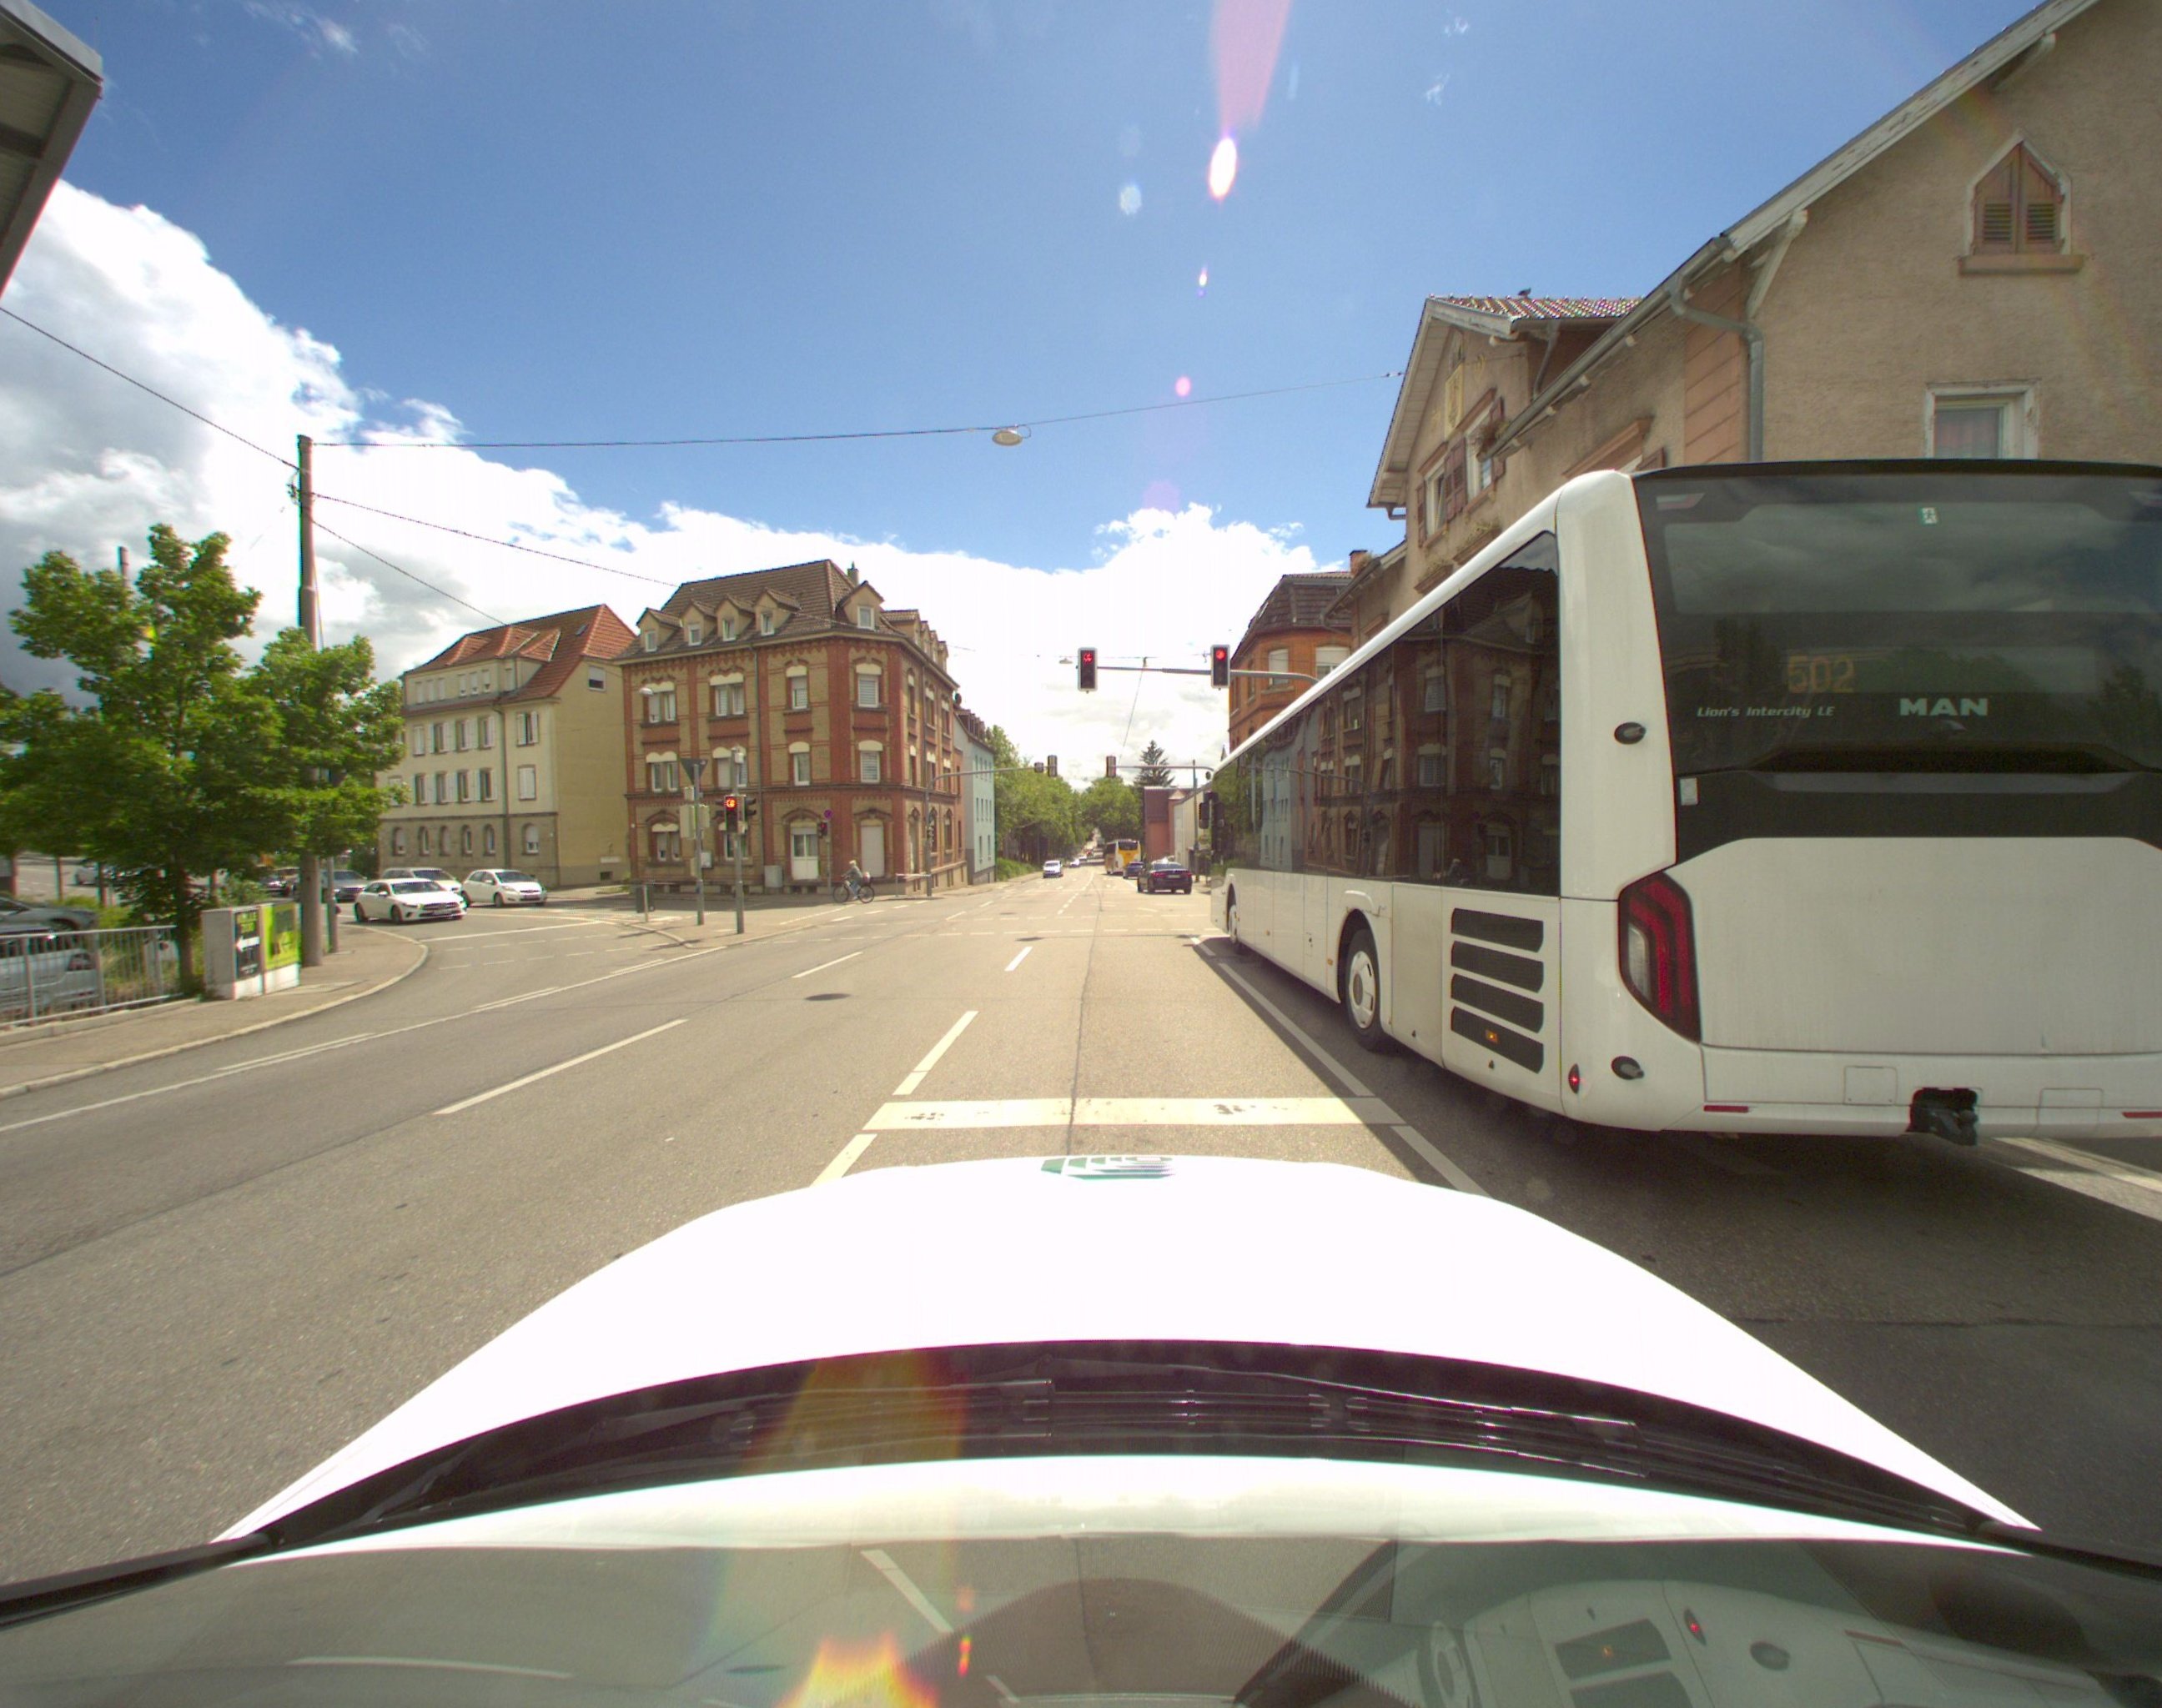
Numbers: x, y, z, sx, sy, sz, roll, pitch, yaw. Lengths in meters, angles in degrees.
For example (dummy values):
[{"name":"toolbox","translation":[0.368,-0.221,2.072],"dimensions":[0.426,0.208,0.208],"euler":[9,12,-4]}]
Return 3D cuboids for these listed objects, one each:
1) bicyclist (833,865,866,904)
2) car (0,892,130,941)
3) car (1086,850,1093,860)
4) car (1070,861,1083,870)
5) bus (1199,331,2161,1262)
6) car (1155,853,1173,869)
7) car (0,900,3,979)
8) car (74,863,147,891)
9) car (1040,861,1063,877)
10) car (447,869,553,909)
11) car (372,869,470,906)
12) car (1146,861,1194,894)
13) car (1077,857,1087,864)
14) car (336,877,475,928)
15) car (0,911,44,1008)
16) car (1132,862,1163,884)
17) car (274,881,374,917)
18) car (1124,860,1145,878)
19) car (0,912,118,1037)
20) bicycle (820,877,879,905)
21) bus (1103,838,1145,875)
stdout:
[{"name":"bicyclist","translation":[-9.218,1.201,32.499],"dimensions":[1.065,1.499,0.592],"euler":[-2,0,10]},{"name":"car","translation":[-29.257,1.729,22.232],"dimensions":[1.795,1.186,4.025],"euler":[-1,0,31]},{"name":"car","translation":[2.637,0.315,257.307],"dimensions":[2.133,3.070,5.629],"euler":[0,-1,2]},{"name":"car","translation":[-0.707,1.895,131.398],"dimensions":[1.858,1.367,4.549],"euler":[-2,0,2]},{"name":"bus","translation":[3.521,-0.174,9.320],"dimensions":[2.893,3.510,12.492],"euler":[0,-1,2]},{"name":"car","translation":[9.465,0.782,93.277],"dimensions":[1.760,1.665,4.002],"euler":[-2,0,2]},{"name":"car","translation":[-23.408,1.735,16.449],"dimensions":[3.371,1.575,1.526],"euler":[-1,0,30]},{"name":"car","translation":[-58.583,1.358,49.155],"dimensions":[4.291,1.586,2.012],"euler":[-1,0,29]},{"name":"car","translation":[-2.957,1.500,82.594],"dimensions":[1.928,1.563,4.390],"euler":[-2,0,2]},{"name":"car","translation":[-23.602,1.392,33.079],"dimensions":[3.951,1.497,1.711],"euler":[-1,0,24]},{"name":"car","translation":[-29.211,1.469,36.066],"dimensions":[3.951,1.519,1.757],"euler":[-1,0,24]},{"name":"car","translation":[3.844,1.002,35.749],"dimensions":[1.791,1.276,4.002],"euler":[-2,0,2]},{"name":"car","translation":[0.309,1.477,193.189],"dimensions":[2.199,1.613,4.549],"euler":[-2,0,2]},{"name":"car","translation":[-22.559,1.599,27.171],"dimensions":[4.336,1.447,1.874],"euler":[-2,2,26]},{"name":"car","translation":[-19.716,1.832,14.169],"dimensions":[3.744,1.523,1.526],"euler":[-1,0,30]},{"name":"car","translation":[4.523,1.252,55.696],"dimensions":[1.858,1.367,4.549],"euler":[-2,0,2]},{"name":"car","translation":[-35.455,2.078,38.158],"dimensions":[3.951,1.519,2.011],"euler":[-1,0,24]},{"name":"car","translation":[4.315,1.184,66.182],"dimensions":[1.603,1.376,4.002],"euler":[-2,0,2]},{"name":"car","translation":[-16.121,1.740,12.199],"dimensions":[3.638,1.575,1.766],"euler":[-1,-2,34]},{"name":"bicycle","translation":[-9.247,1.472,32.497],"dimensions":[2.172,1.019,0.608],"euler":[-2,0,9]},{"name":"bus","translation":[4.378,0.273,86.076],"dimensions":[3.292,3.631,11.233],"euler":[-2,0,-2]}]
